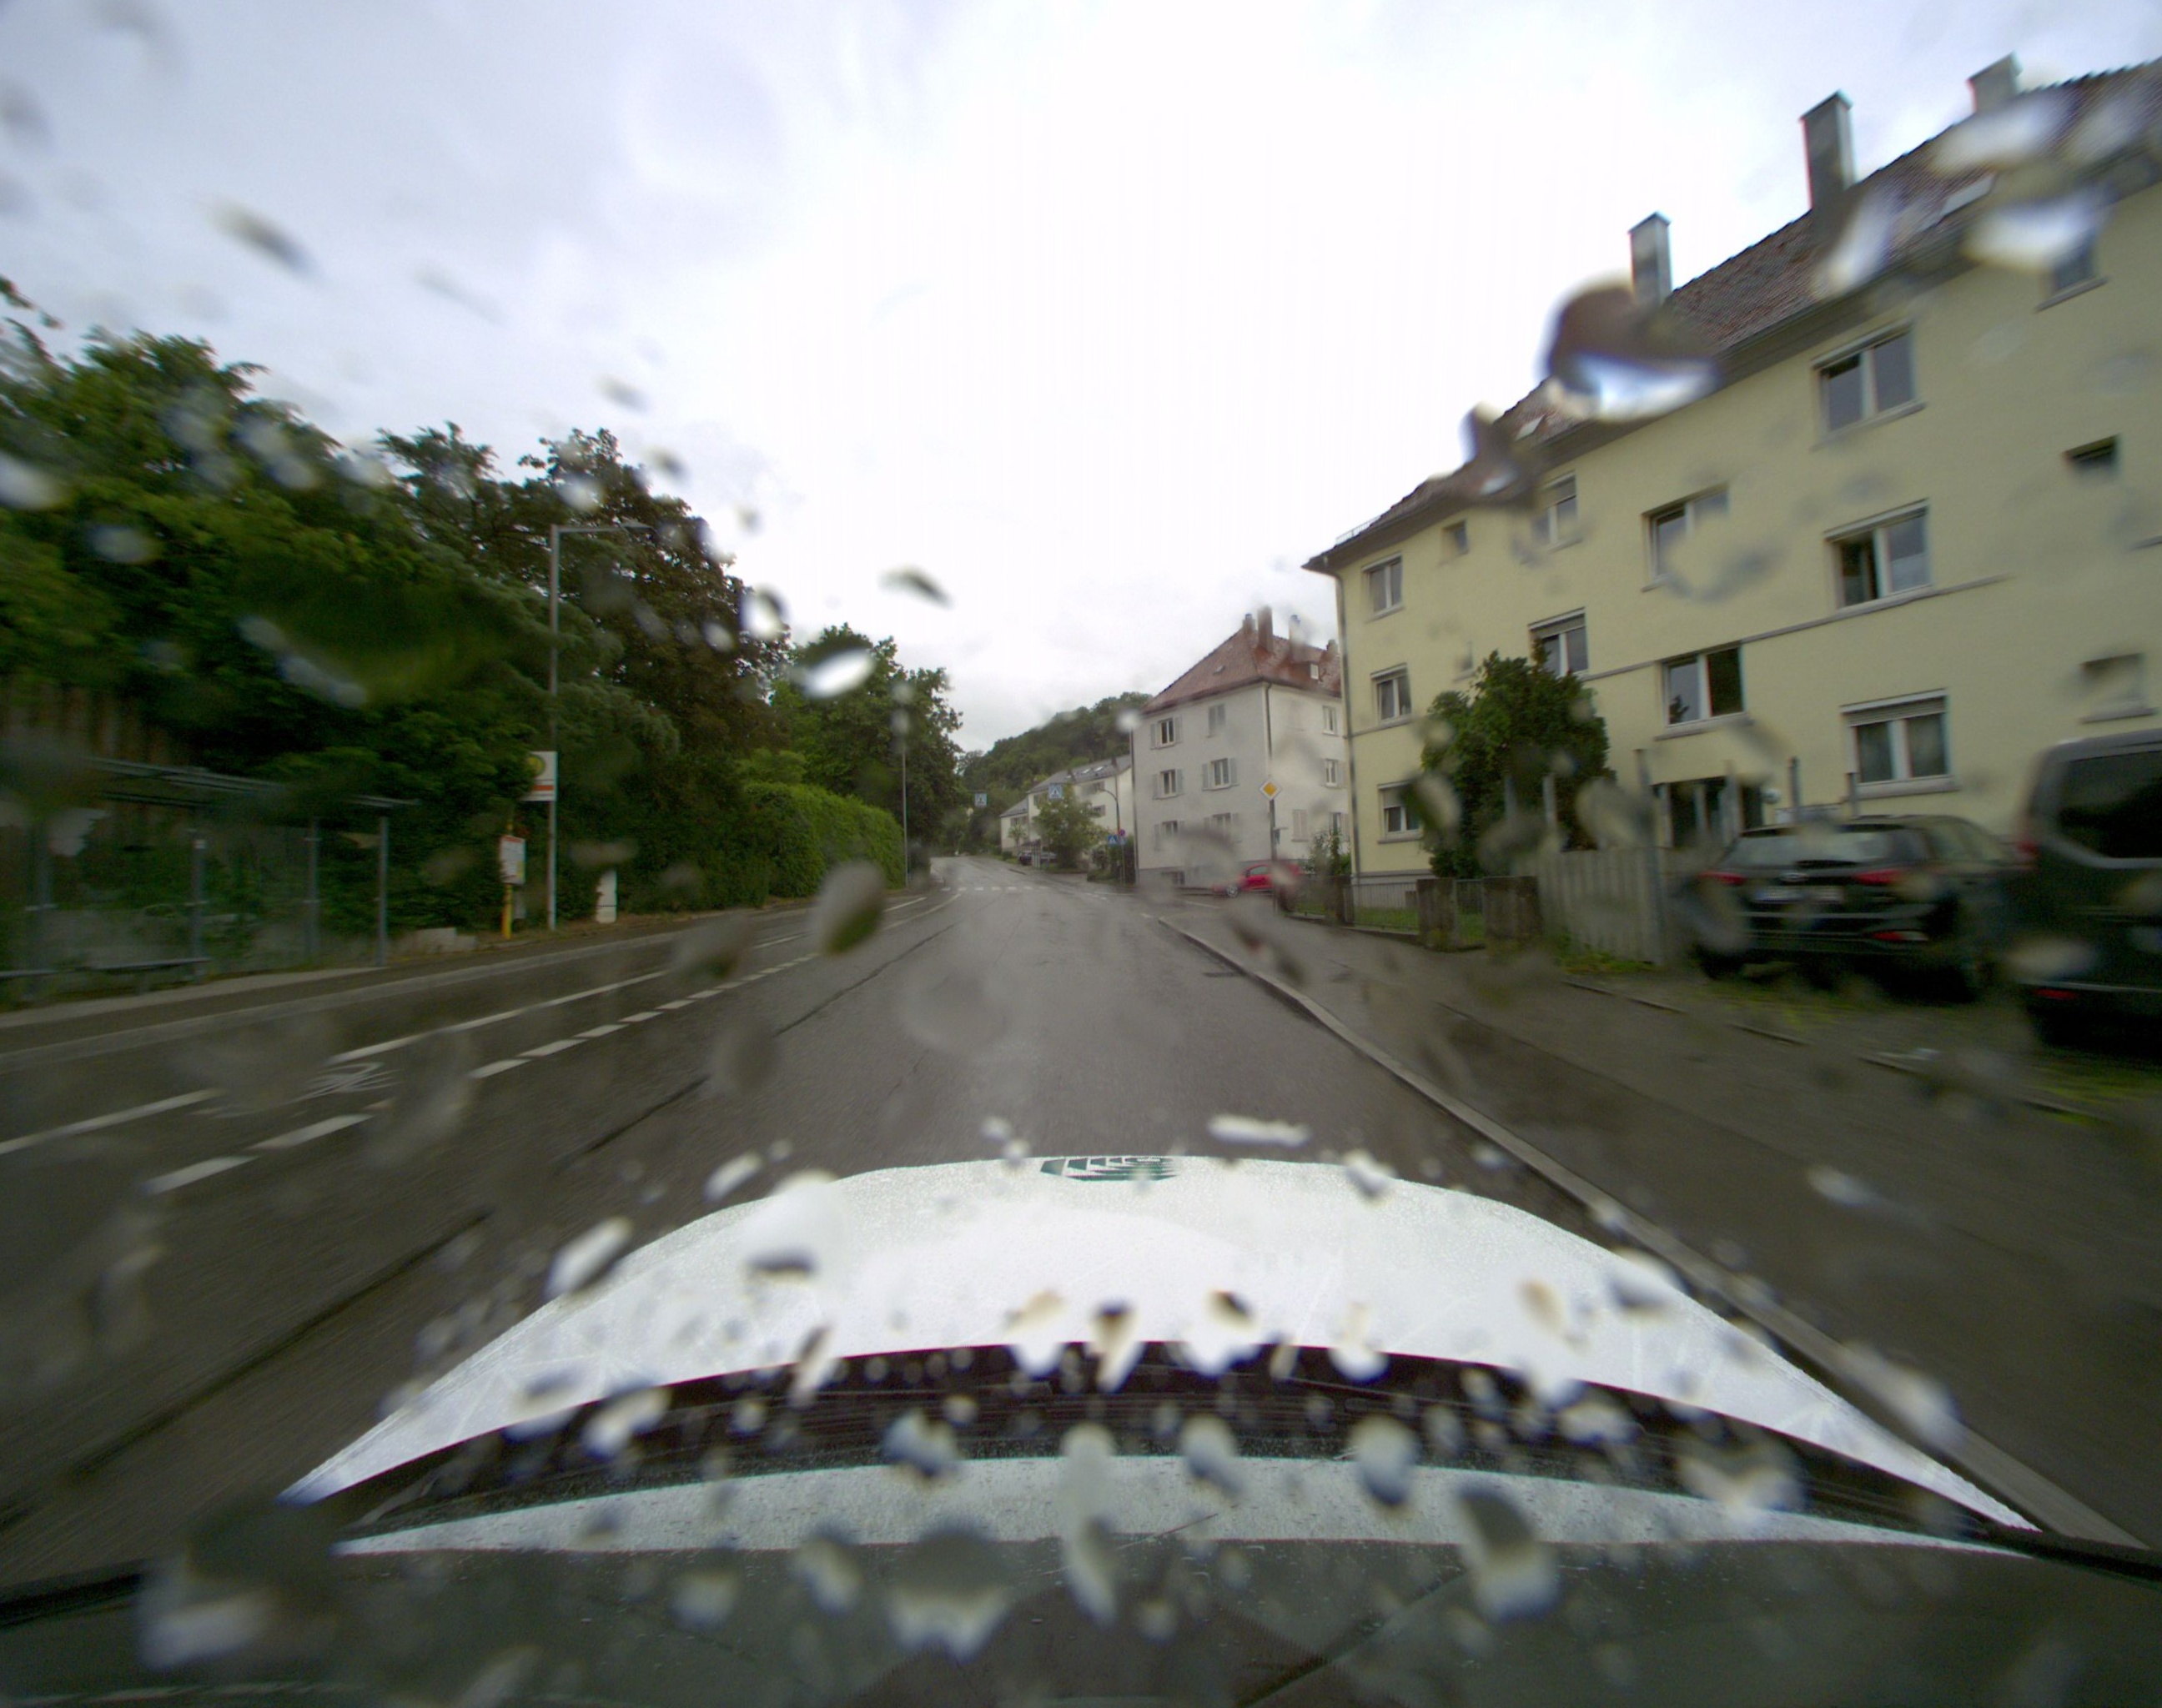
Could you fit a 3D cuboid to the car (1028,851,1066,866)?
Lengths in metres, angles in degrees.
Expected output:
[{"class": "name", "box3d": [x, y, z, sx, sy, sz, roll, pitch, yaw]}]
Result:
[{"class": "car", "box3d": [-3.652, 0.500, 87.411, 3.750, 1.458, 1.716, -2, 2, -15]}]

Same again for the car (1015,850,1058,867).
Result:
[{"class": "car", "box3d": [-5.071, 0.510, 92.295, 4.541, 1.660, 1.844, -2, 2, -20]}]

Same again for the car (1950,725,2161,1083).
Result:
[{"class": "car", "box3d": [7.189, 0.145, 4.867, 3.947, 1.782, 1.754, -3, -2, -30]}]

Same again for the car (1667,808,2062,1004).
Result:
[{"class": "car", "box3d": [7.208, 0.366, 7.449, 3.538, 1.339, 1.671, -3, -2, -31]}]

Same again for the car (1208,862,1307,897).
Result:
[{"class": "car", "box3d": [7.542, 1.059, 35.066, 4.057, 1.408, 1.728, 1, 0, 8]}]
